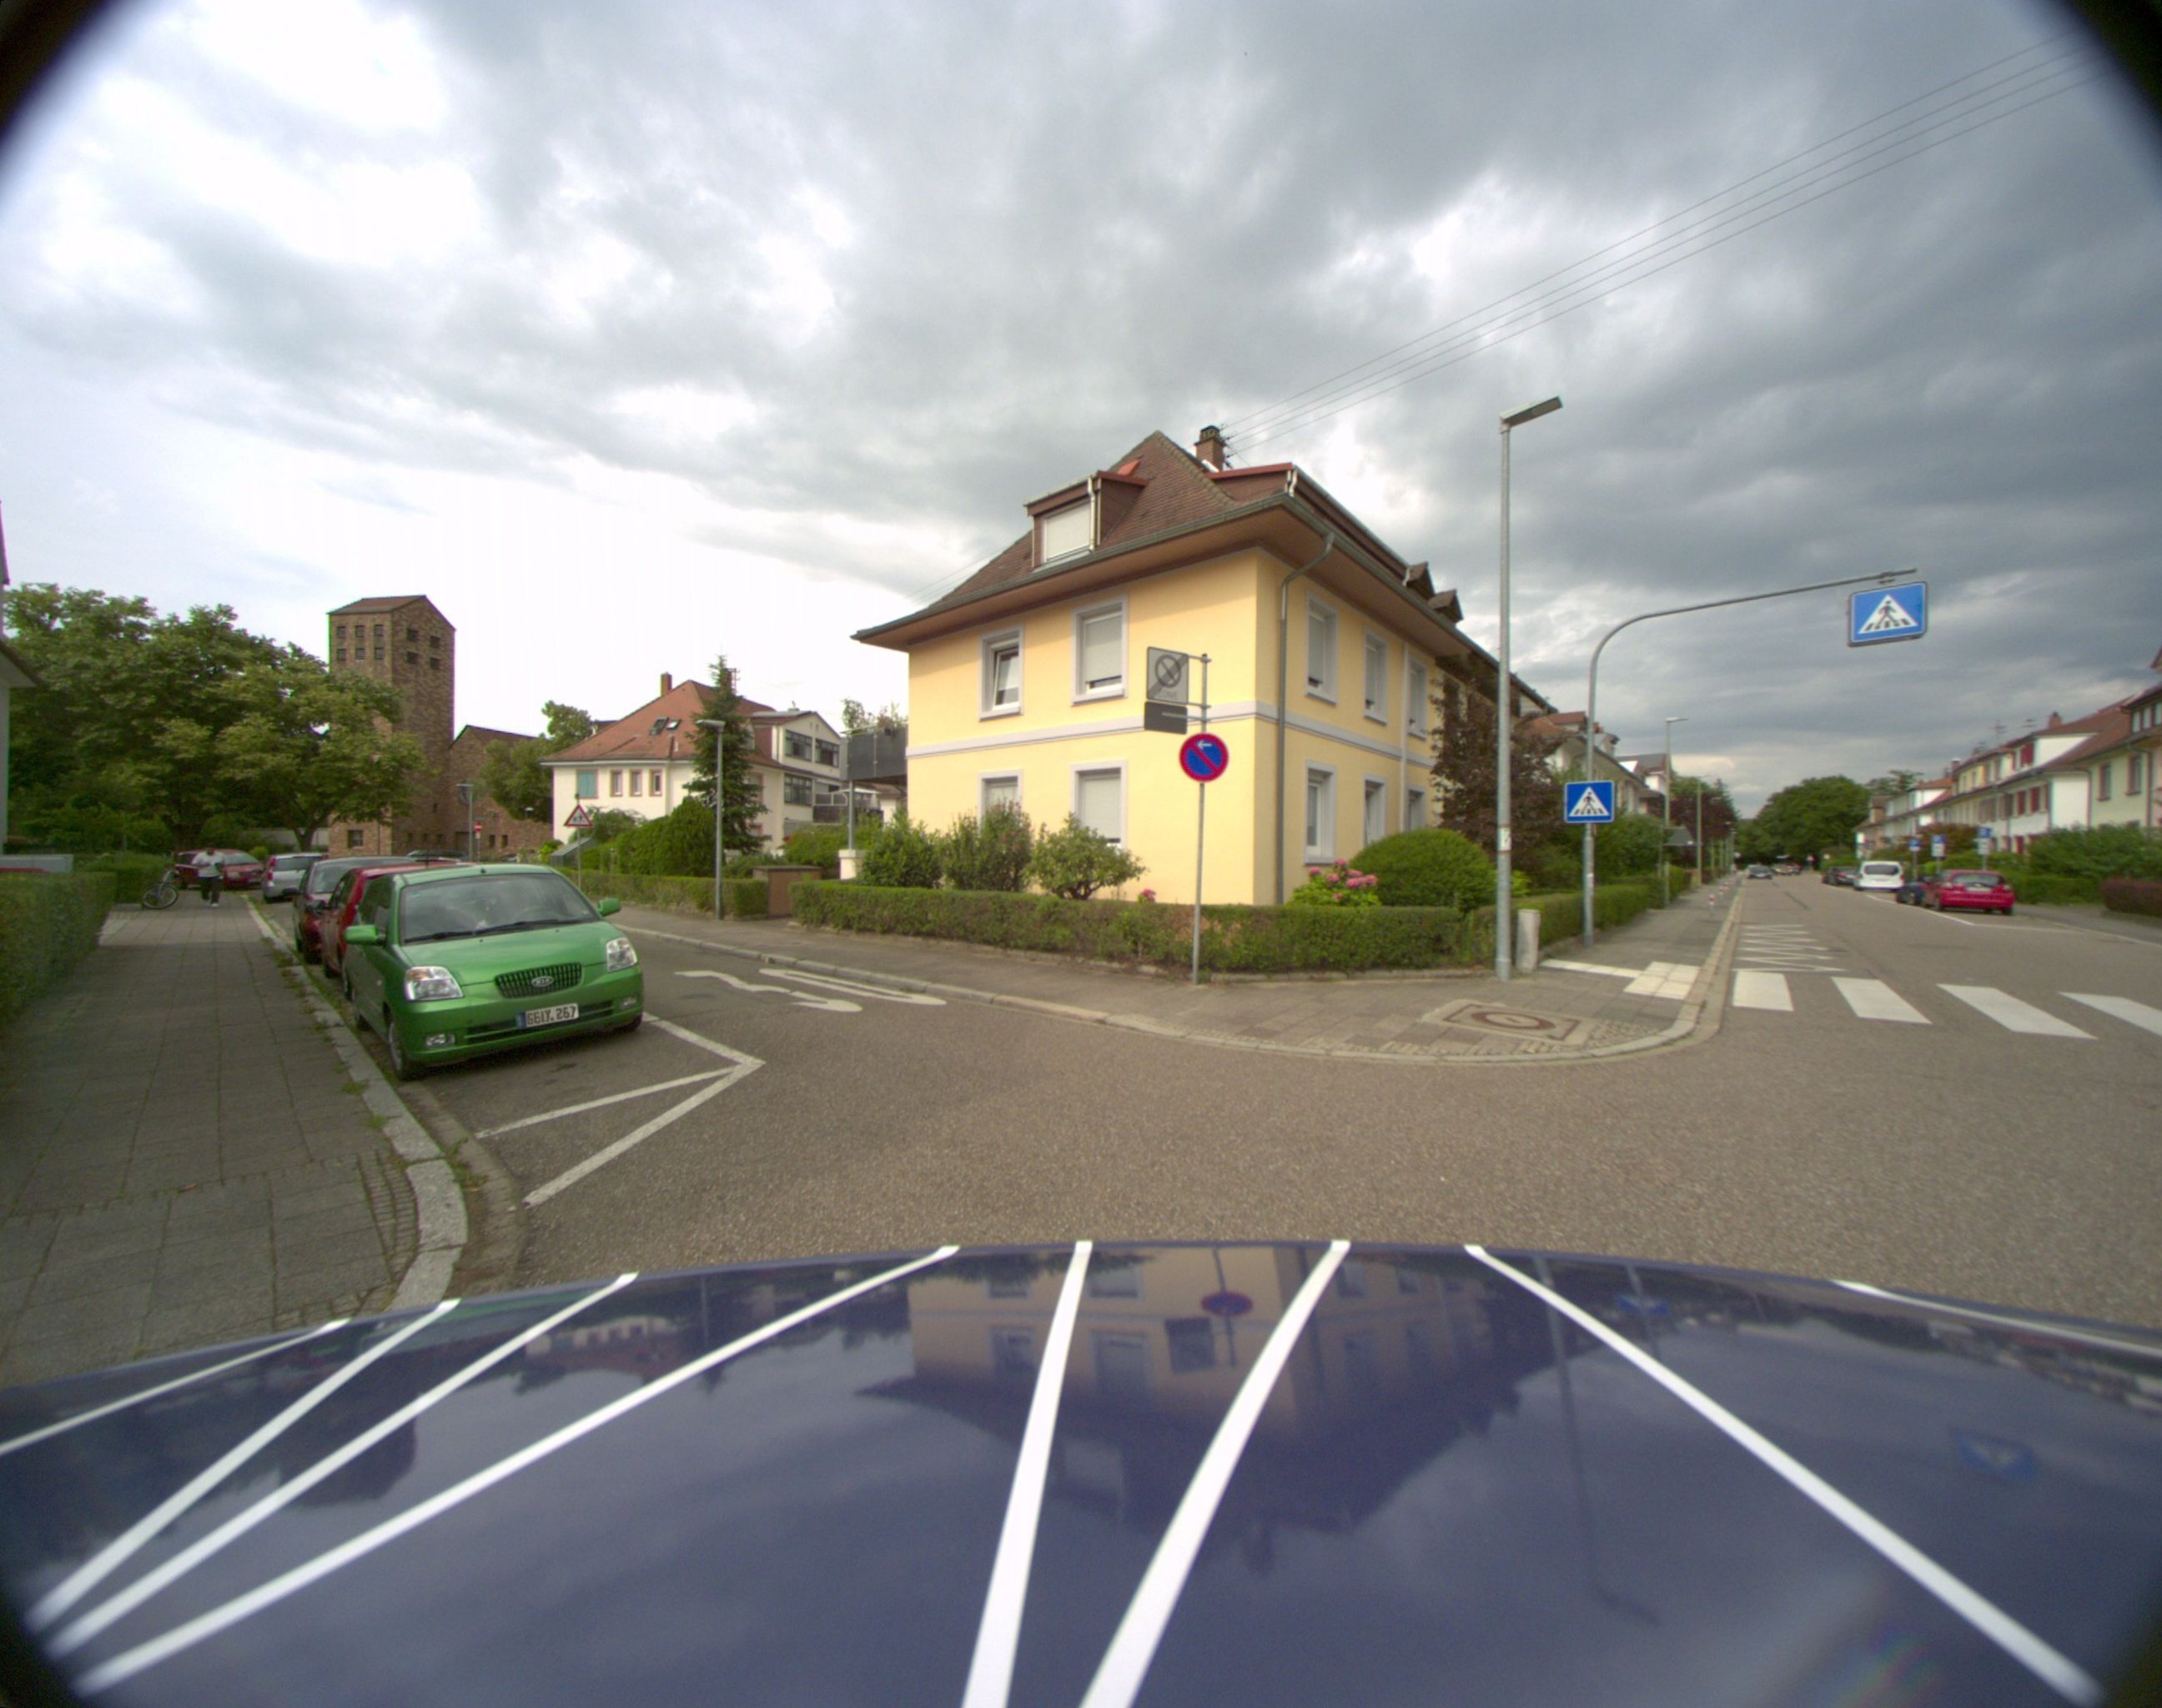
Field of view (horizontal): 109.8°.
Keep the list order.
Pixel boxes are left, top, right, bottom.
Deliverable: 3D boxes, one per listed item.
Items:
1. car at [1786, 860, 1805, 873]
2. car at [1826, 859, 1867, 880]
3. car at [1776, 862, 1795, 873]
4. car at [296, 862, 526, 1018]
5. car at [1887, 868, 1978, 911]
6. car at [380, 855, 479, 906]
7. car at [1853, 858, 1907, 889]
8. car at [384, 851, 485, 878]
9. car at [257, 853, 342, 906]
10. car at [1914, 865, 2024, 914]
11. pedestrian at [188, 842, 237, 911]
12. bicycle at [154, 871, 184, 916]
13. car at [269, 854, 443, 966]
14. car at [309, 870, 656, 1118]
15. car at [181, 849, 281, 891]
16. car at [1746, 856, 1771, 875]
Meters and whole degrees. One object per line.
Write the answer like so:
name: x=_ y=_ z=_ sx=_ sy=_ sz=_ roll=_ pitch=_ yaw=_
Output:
car: x=115.023 y=1.938 z=122.366 sx=1.994 sy=2.002 sz=4.009 roll=3 pitch=2 yaw=42
car: x=60.717 y=1.187 z=60.345 sx=1.994 sy=1.565 sz=4.009 roll=1 pitch=0 yaw=41
car: x=102.361 y=1.935 z=110.435 sx=1.830 sy=1.477 sz=4.009 roll=3 pitch=1 yaw=40
car: x=-8.612 y=0.923 z=9.686 sx=3.471 sy=1.488 sz=1.654 roll=1 pitch=4 yaw=41
car: x=35.016 y=1.401 z=31.352 sx=1.994 sy=1.565 sz=4.009 roll=1 pitch=0 yaw=41
car: x=-21.345 y=0.831 z=24.856 sx=4.029 sy=1.472 sz=1.859 roll=1 pitch=-2 yaw=41
car: x=50.642 y=1.207 z=48.249 sx=1.994 sy=1.892 sz=4.009 roll=1 pitch=0 yaw=41
car: x=-37.191 y=0.582 z=43.777 sx=1.679 sy=1.456 sz=4.237 roll=3 pitch=1 yaw=41
car: x=-25.538 y=0.777 z=24.812 sx=3.471 sy=1.488 sz=1.654 roll=1 pitch=4 yaw=41
car: x=31.722 y=1.215 z=27.271 sx=1.994 sy=1.565 sz=4.009 roll=1 pitch=0 yaw=41
pedestrian: x=-24.256 y=0.608 z=21.238 sx=1.075 sy=1.867 sz=0.886 roll=1 pitch=1 yaw=42
bicycle: x=-24.504 y=1.042 z=20.414 sx=2.109 sy=1.097 sz=0.424 roll=1 pitch=1 yaw=38
car: x=-11.932 y=0.788 z=12.452 sx=3.471 sy=1.488 sz=1.654 roll=1 pitch=4 yaw=41
car: x=-5.300 y=0.934 z=6.590 sx=3.471 sy=1.414 sz=1.654 roll=1 pitch=4 yaw=41
car: x=-33.459 y=0.598 z=29.909 sx=3.472 sy=1.488 sz=1.653 roll=0 pitch=3 yaw=26
car: x=72.999 y=1.211 z=81.891 sx=1.994 sy=2.002 sz=4.009 roll=1 pitch=1 yaw=41
